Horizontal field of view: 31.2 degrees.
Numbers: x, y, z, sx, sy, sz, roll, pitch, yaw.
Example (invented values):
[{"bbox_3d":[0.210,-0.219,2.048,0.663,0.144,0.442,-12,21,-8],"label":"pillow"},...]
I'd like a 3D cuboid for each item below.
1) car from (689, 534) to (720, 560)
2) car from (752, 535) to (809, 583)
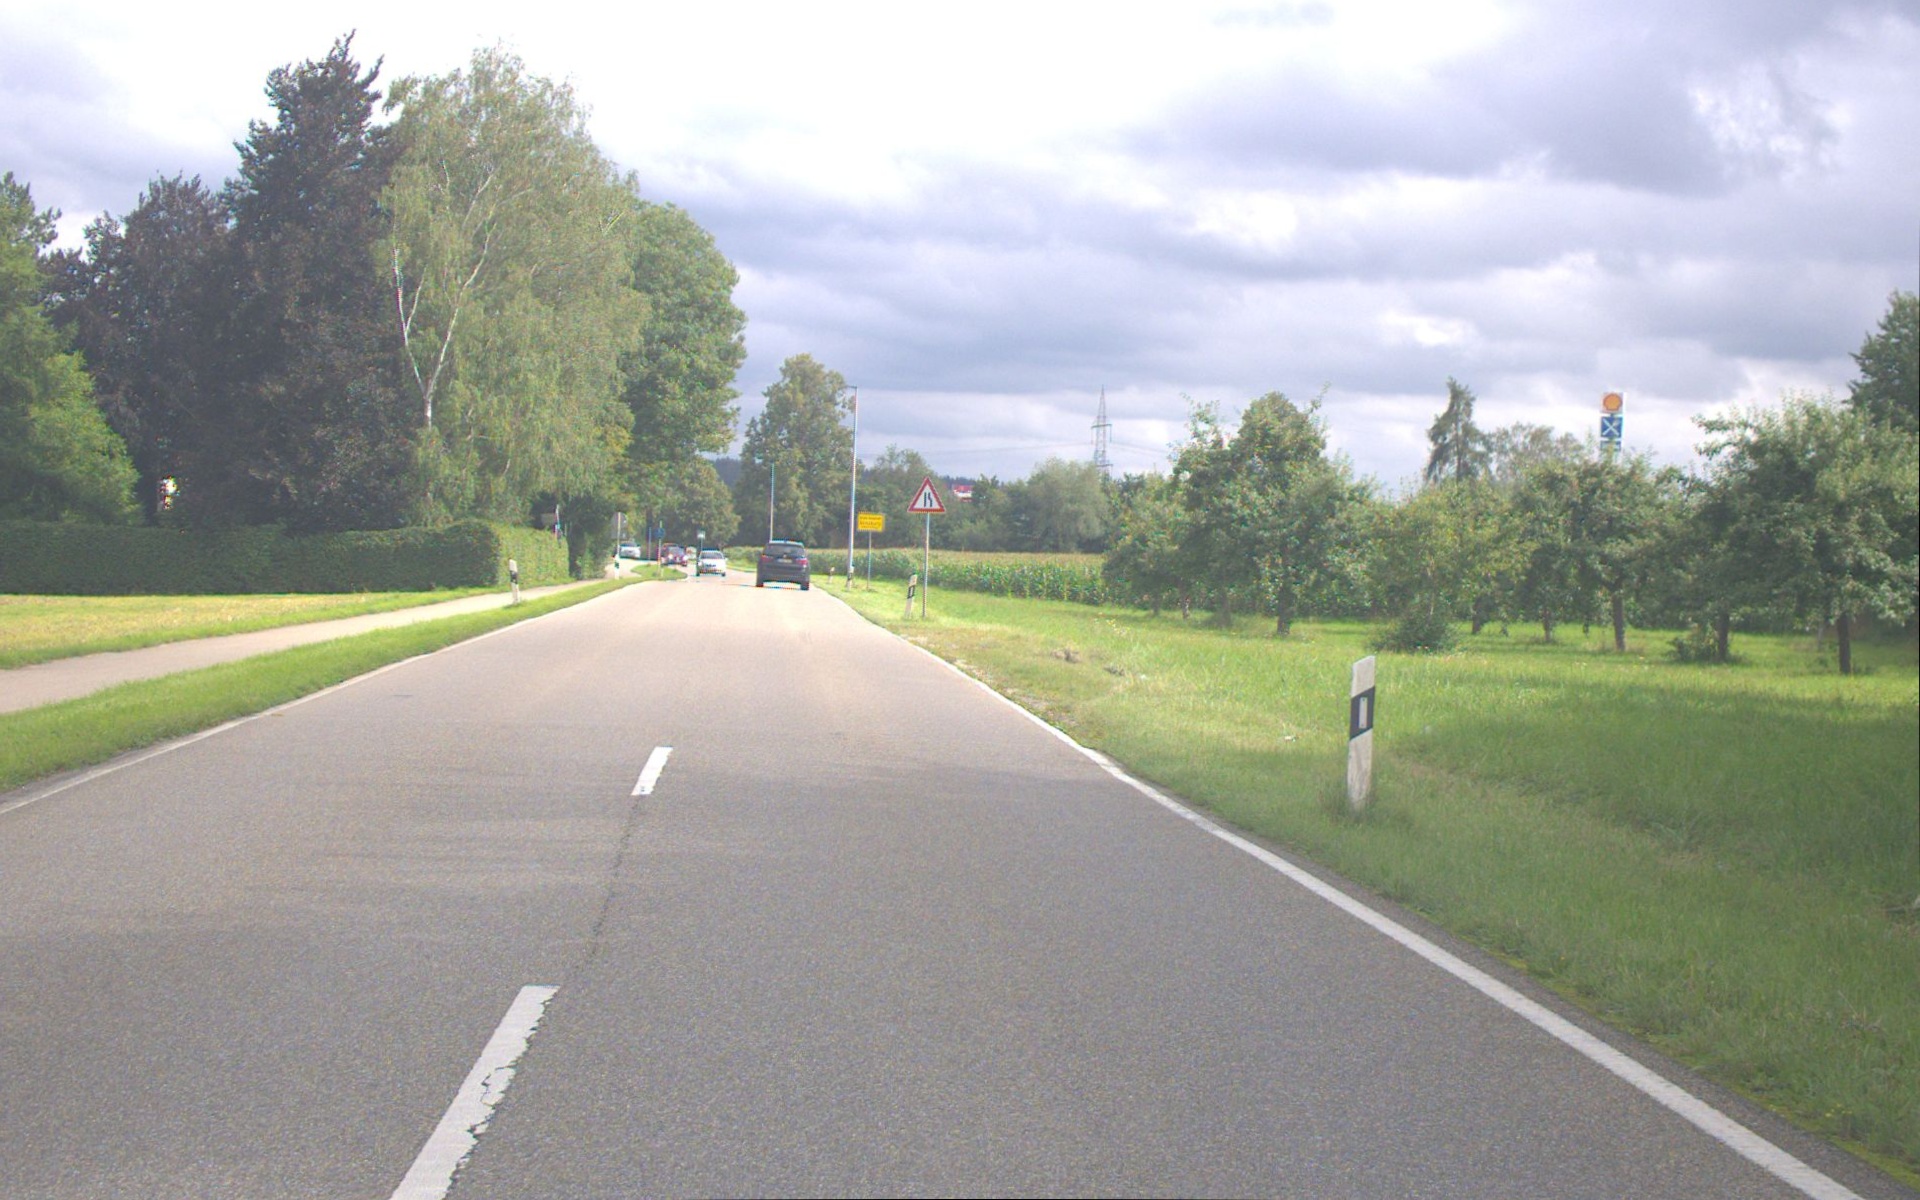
[{"bbox_3d":[-14.821,-3.100,199.747,1.694,1.454,3.543,1,1,-3],"label":"car"},{"bbox_3d":[-6.315,-1.460,121.522,1.906,1.660,4.001,1,1,-2],"label":"car"}]
